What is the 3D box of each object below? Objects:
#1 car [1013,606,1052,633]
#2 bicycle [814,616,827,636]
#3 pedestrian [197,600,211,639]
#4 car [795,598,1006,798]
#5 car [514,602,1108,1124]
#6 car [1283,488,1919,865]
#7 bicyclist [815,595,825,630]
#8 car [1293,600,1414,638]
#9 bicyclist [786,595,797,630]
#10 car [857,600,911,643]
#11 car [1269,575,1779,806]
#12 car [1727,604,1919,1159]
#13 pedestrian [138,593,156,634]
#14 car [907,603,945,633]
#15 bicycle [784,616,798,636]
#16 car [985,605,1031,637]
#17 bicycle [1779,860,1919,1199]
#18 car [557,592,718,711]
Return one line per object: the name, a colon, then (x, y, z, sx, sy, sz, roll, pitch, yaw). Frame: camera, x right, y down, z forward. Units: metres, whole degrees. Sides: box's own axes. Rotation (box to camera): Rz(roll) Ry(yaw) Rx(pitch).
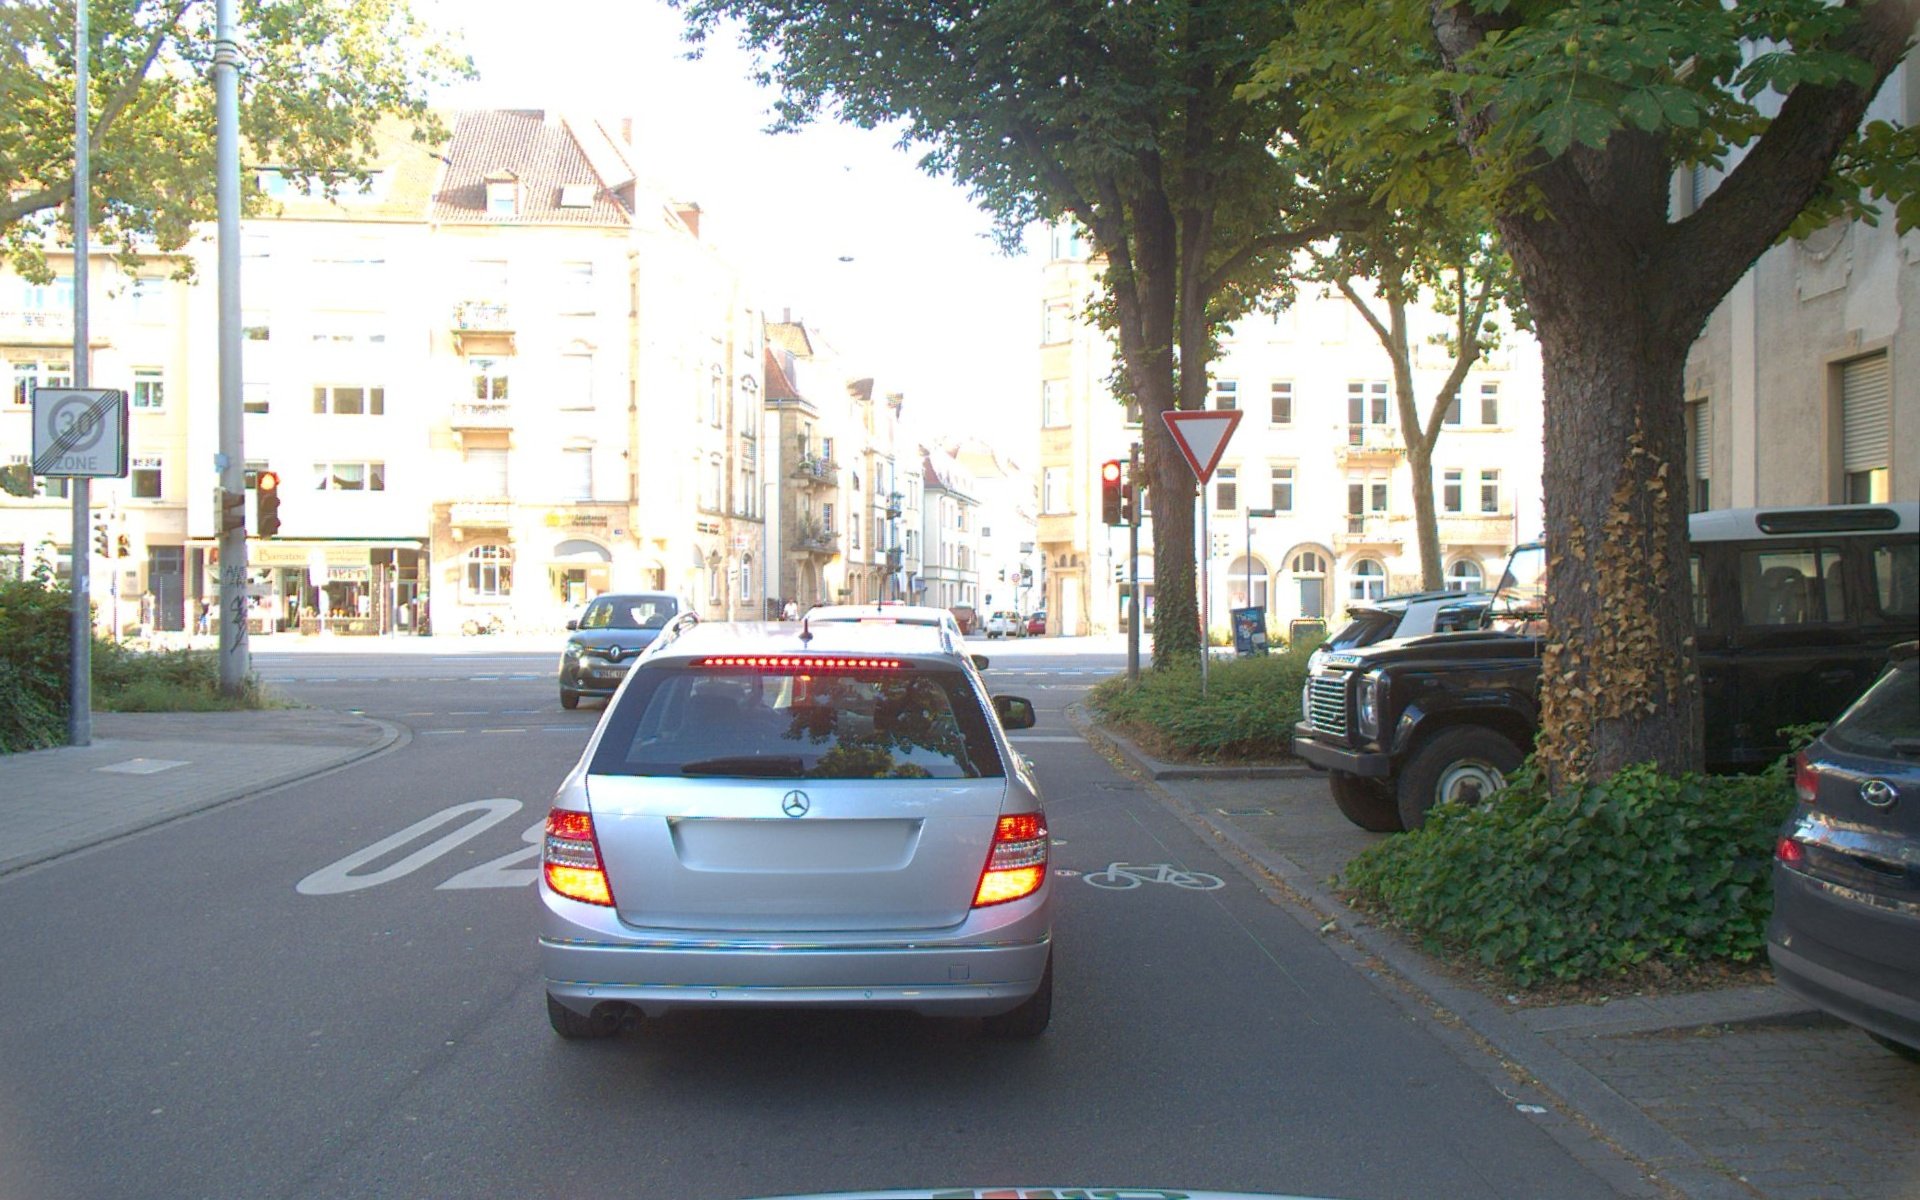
car: (4.491, 1.191, 102.120, 1.684, 1.503, 4.004, -4, 0, 11)
bicycle: (-6.174, 1.159, 73.184, 0.557, 0.849, 1.564, 0, 0, -4)
pedestrian: (-29.528, 0.761, 64.585, 0.466, 1.537, 0.428, 0, 0, -21)
car: (-0.497, 0.705, 13.699, 1.502, 1.415, 3.597, 0, 0, -2)
car: (-0.513, 0.757, 6.443, 1.657, 1.454, 3.490, 1, 0, -3)
car: (4.421, 0.398, 10.238, 4.402, 1.990, 1.791, -2, 0, -4)
bicyclist: (-6.194, 0.553, 73.244, 0.457, 1.547, 0.693, 0, 0, -4)
car: (11.808, 0.560, 49.682, 3.296, 1.087, 1.380, 0, 0, -2)
bicyclist: (-7.467, 0.552, 73.160, 0.457, 1.541, 0.655, 0, 0, -4)
car: (-3.627, 0.994, 79.769, 1.896, 1.993, 4.153, 0, 0, 7)
car: (4.375, 0.656, 13.123, 3.415, 1.614, 1.708, -1, 0, -7)
car: (4.329, 0.685, 4.540, 3.675, 1.446, 1.627, -2, -1, -4)
pedestrian: (-30.753, 0.511, 62.599, 0.557, 1.537, 0.499, 0, 0, -20)
car: (-2.109, 1.102, 102.379, 1.615, 1.814, 3.866, 0, -1, 10)
bicycle: (-7.489, 1.163, 73.176, 0.557, 0.849, 1.564, 0, 0, -4)
car: (2.497, 1.062, 85.841, 1.684, 1.504, 4.004, -2, 0, 11)
bicycle: (1.549, 0.952, 1.367, 0.727, 1.137, 2.013, 1, 0, -1)
car: (-4.444, 0.657, 23.271, 1.582, 1.528, 3.592, 0, 0, -1)
